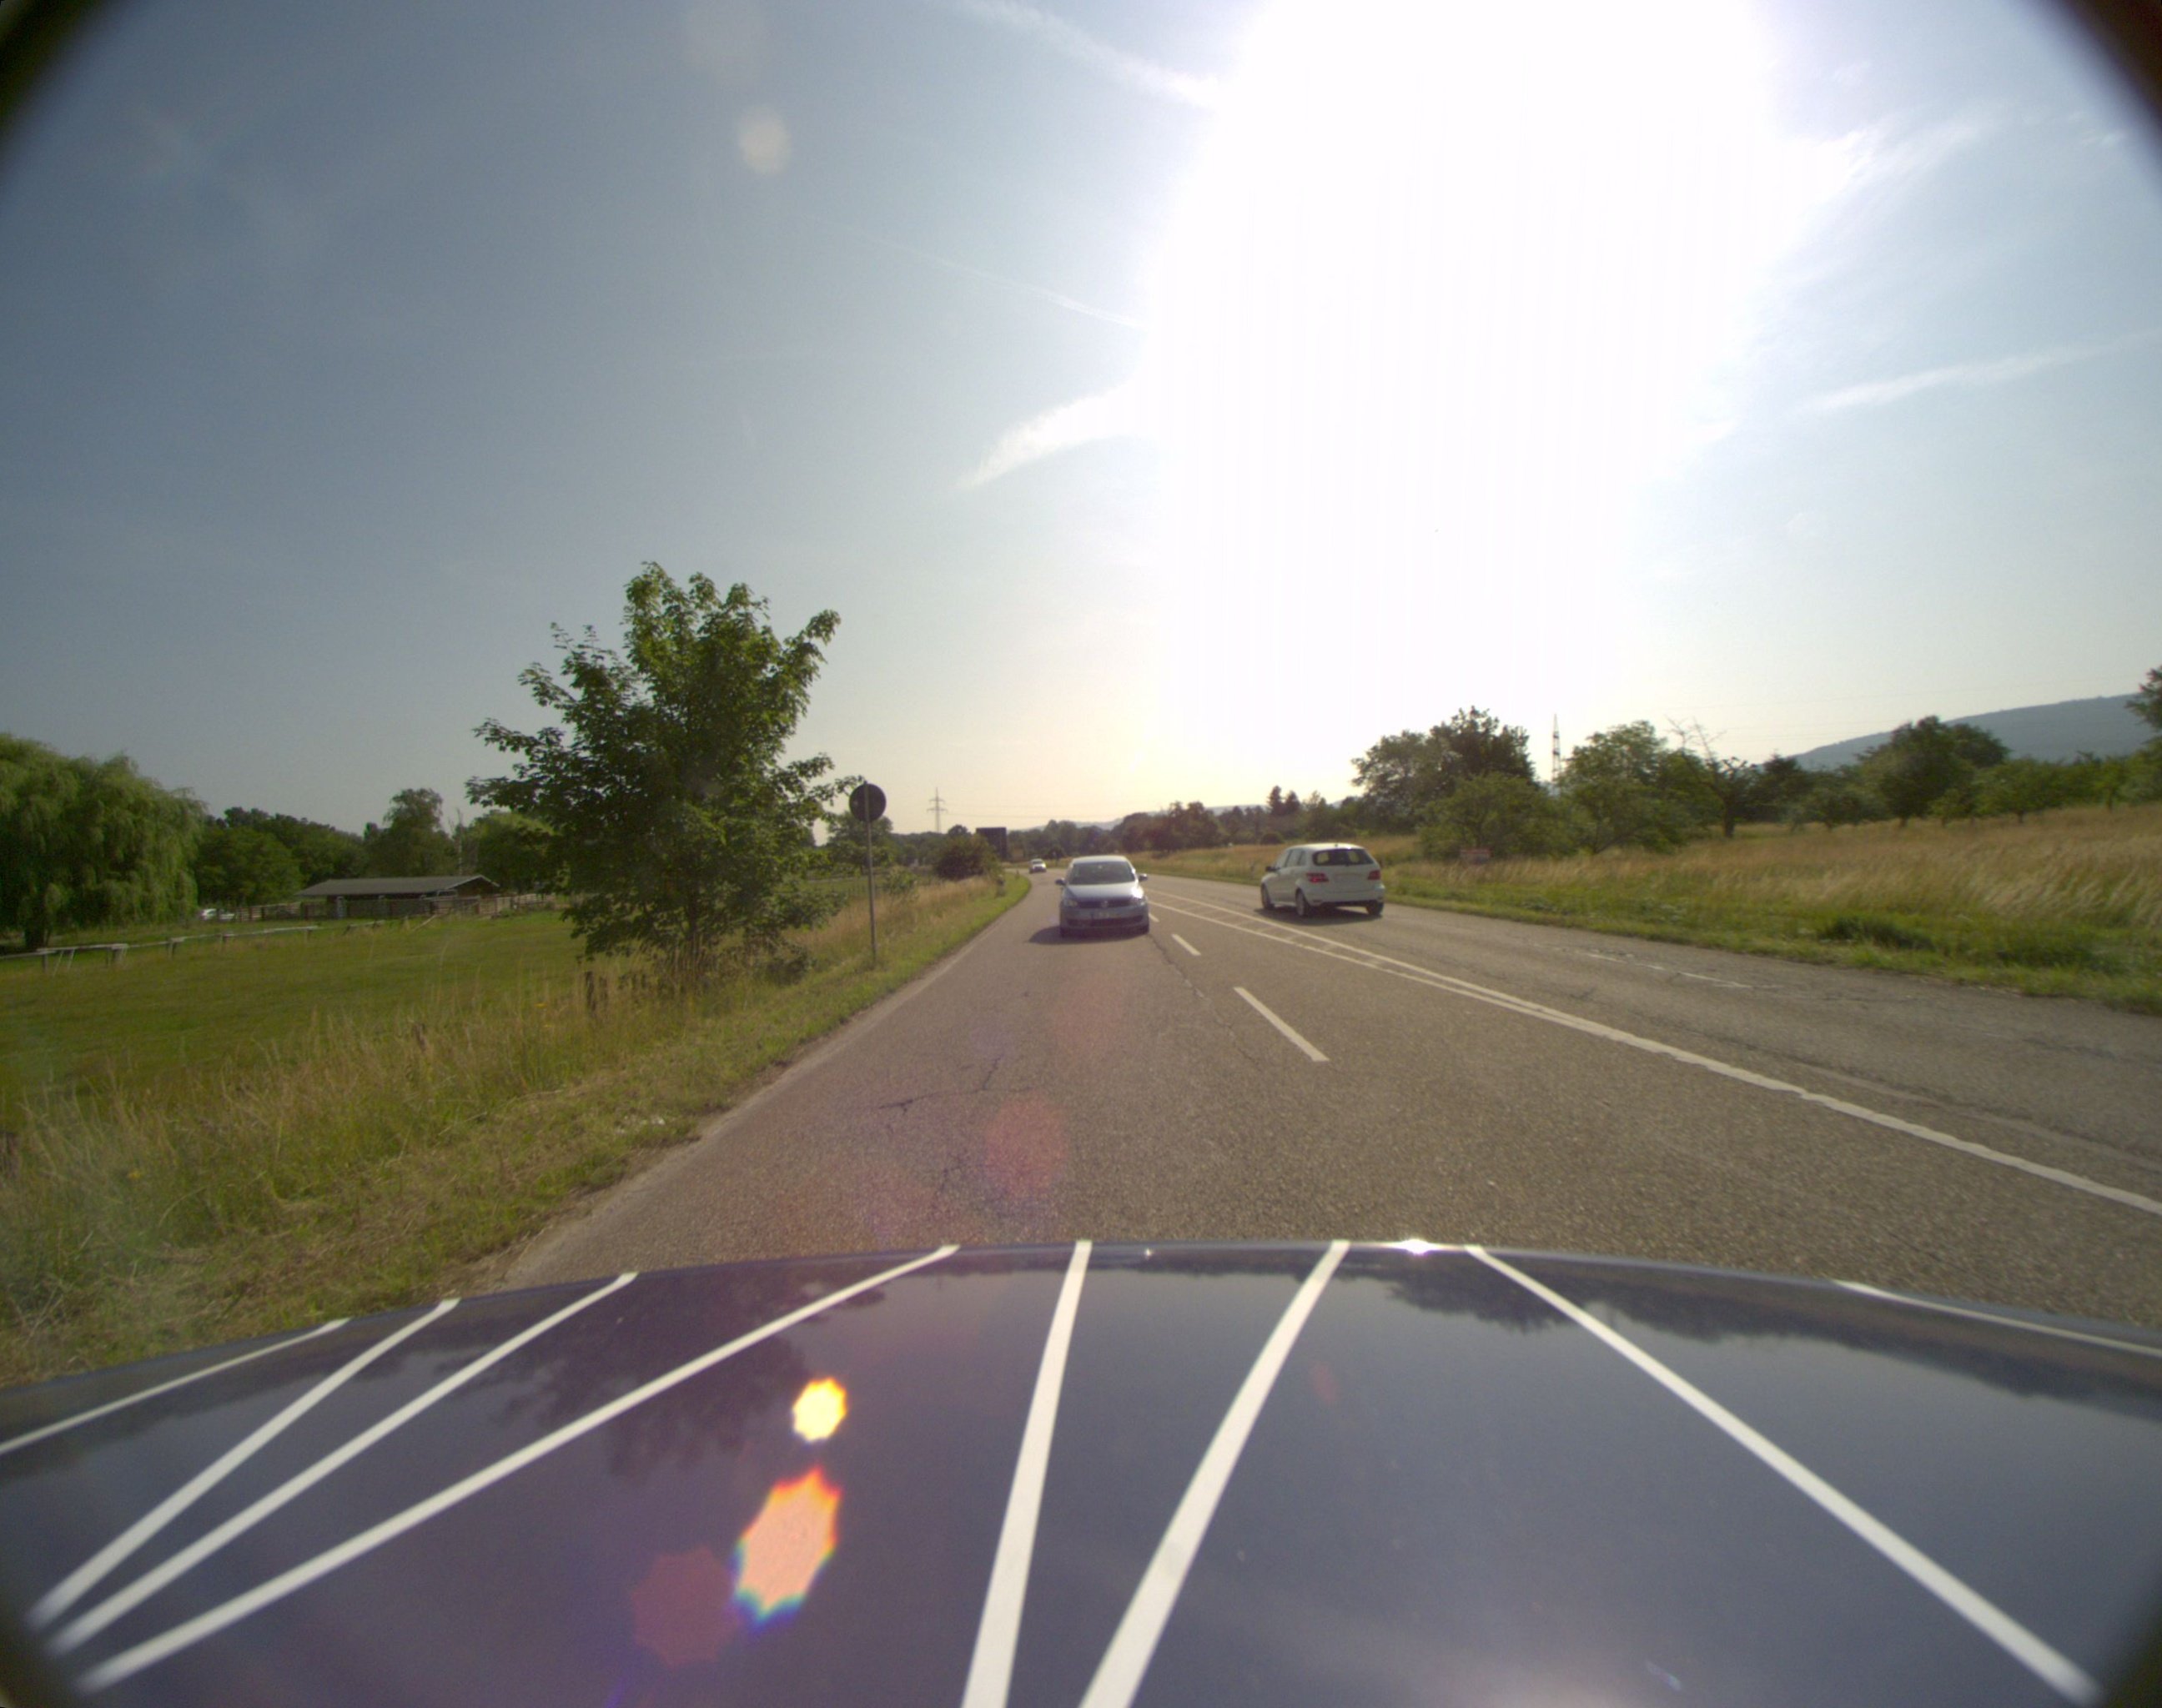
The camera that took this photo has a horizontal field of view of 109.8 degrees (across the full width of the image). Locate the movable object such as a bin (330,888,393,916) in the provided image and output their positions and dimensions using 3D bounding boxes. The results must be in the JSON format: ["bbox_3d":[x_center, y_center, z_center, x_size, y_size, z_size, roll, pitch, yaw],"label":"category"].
[{"bbox_3d":[-65.219,4.306,68.953,2.000,2.181,4.161,-4,0,-8],"label":"movable object such as a bin"}]

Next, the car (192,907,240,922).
[{"bbox_3d":[-75.412,5.259,66.315,1.229,0.999,3.048,-4,0,-15],"label":"car"}]

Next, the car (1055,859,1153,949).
[{"bbox_3d":[0.517,0.946,16.165,1.717,1.495,4.094,-4,0,2],"label":"car"}]

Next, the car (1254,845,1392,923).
[{"bbox_3d":[5.517,0.619,17.911,1.817,1.576,4.224,-1,0,-1],"label":"car"}]

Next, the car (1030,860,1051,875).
[{"bbox_3d":[-4.803,1.570,89.290,2.000,1.570,3.906,-3,0,-8],"label":"car"}]
